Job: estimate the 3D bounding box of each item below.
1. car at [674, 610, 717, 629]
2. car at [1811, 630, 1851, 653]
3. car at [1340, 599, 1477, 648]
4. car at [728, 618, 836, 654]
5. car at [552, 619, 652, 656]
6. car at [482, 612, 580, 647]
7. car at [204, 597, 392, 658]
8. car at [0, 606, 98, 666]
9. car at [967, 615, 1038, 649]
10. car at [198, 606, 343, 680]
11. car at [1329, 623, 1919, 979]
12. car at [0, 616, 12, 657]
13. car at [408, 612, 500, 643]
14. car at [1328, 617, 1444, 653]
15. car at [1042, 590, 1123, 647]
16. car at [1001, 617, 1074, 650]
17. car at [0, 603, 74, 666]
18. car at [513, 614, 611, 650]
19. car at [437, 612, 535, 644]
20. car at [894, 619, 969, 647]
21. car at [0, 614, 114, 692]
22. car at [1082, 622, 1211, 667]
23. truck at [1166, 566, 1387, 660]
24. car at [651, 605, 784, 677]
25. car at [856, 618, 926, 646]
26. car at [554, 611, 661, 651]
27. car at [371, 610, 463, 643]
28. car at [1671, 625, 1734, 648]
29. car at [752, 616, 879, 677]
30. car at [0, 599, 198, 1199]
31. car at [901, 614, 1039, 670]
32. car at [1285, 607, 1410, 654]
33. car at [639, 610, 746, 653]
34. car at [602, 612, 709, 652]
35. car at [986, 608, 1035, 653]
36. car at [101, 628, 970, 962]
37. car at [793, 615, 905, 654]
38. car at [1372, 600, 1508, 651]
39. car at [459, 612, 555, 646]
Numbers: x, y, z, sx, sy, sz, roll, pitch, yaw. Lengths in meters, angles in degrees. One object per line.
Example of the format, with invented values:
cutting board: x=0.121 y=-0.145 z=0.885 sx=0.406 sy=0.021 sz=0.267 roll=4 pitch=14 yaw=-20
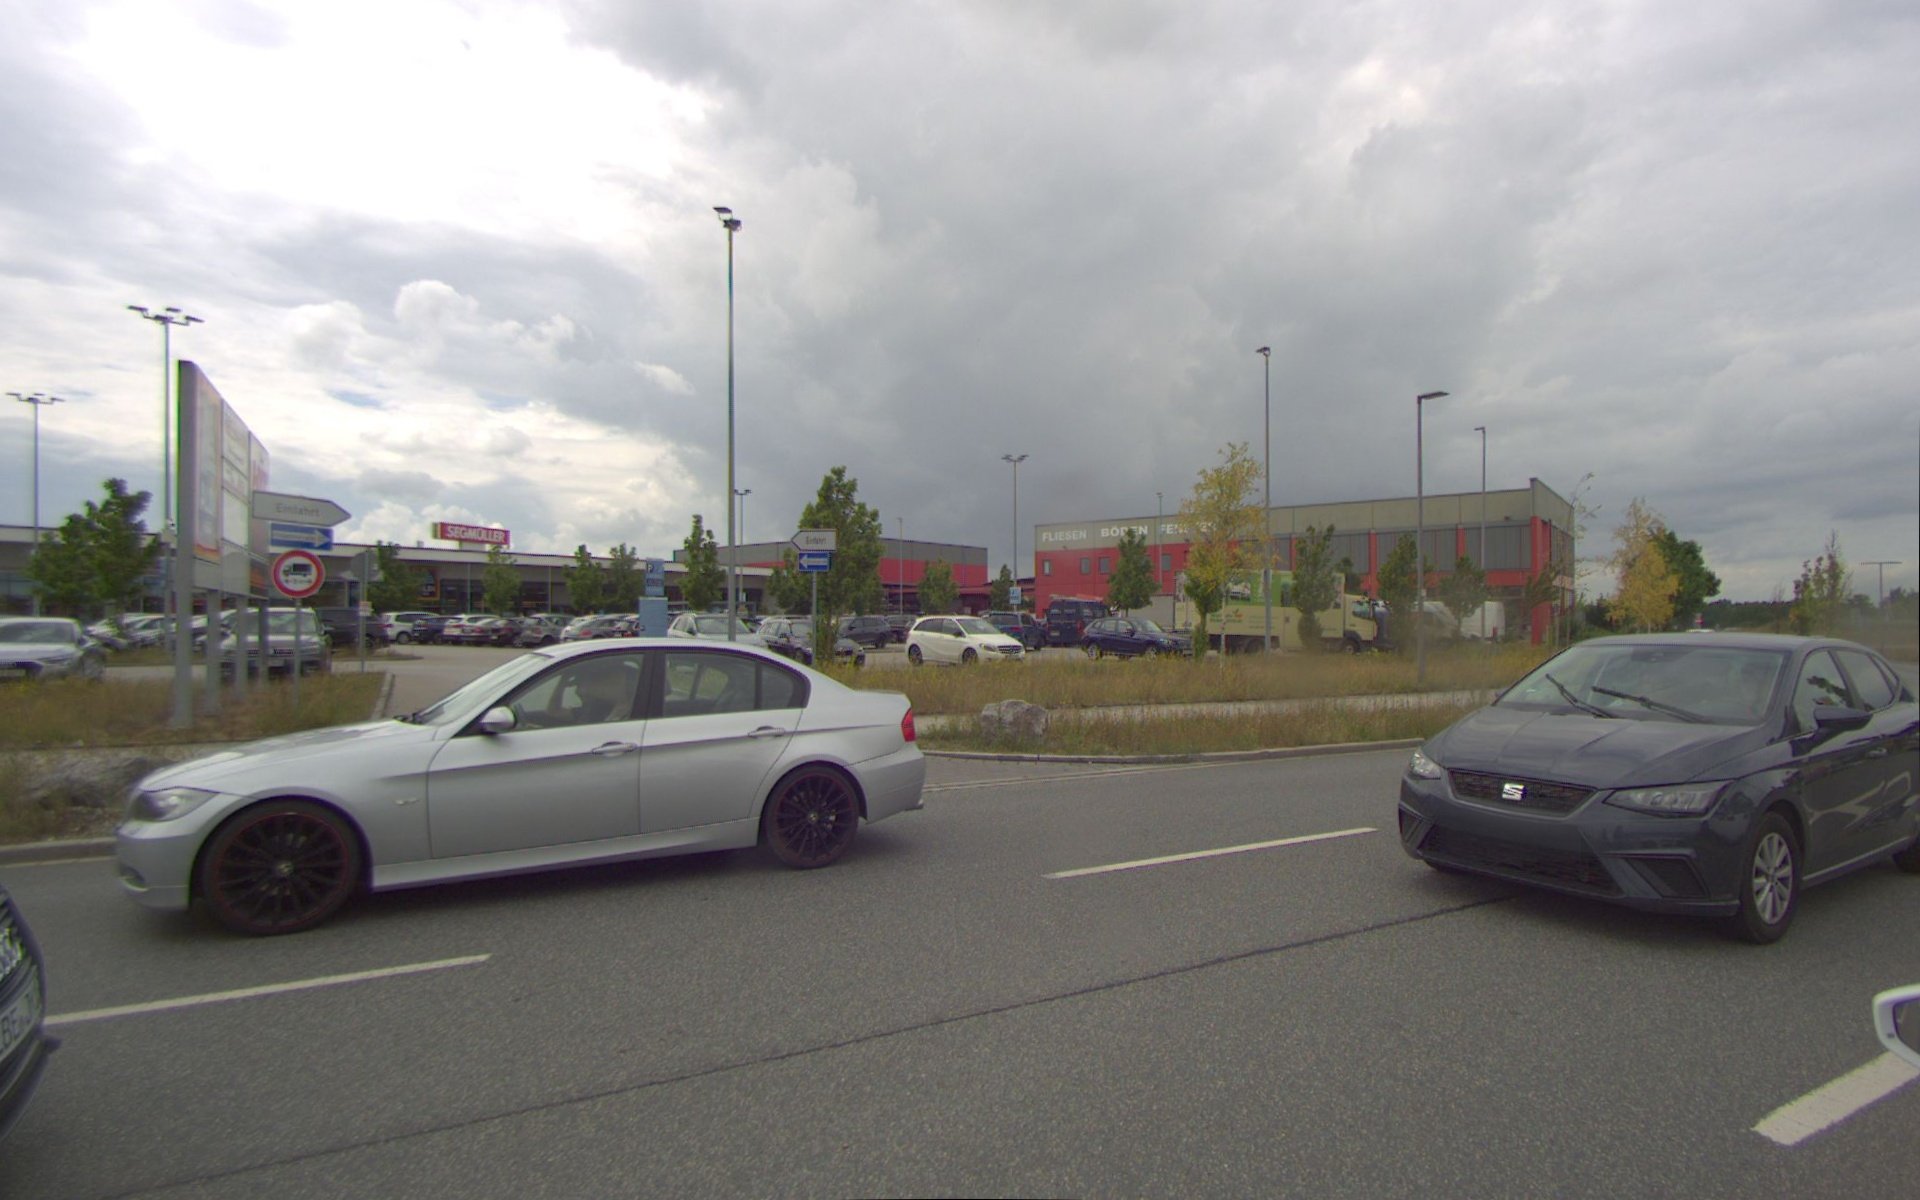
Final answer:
car: x=-23.518 y=1.744 z=89.106 sx=1.987 sy=1.628 sz=3.947 roll=2 pitch=-2 yaw=-45
car: x=67.003 y=3.213 z=77.326 sx=1.775 sy=1.691 sz=4.313 roll=-4 pitch=-4 yaw=35
car: x=22.609 y=1.181 z=50.767 sx=5.996 sy=2.337 sz=2.200 roll=0 pitch=-2 yaw=39
car: x=-8.509 y=1.695 z=48.462 sx=1.968 sy=1.628 sz=5.254 roll=-1 pitch=-2 yaw=36
car: x=-16.617 y=1.711 z=46.721 sx=1.968 sy=1.628 sz=3.986 roll=-1 pitch=-2 yaw=36
car: x=-20.887 y=1.437 z=49.012 sx=1.968 sy=1.628 sz=3.986 roll=-1 pitch=-2 yaw=36
car: x=-20.768 y=0.877 z=31.668 sx=1.969 sy=1.769 sz=4.566 roll=-1 pitch=-2 yaw=38
car: x=-26.900 y=1.001 z=28.058 sx=1.969 sy=1.628 sz=3.984 roll=-1 pitch=-2 yaw=38
car: x=2.322 y=1.690 z=53.956 sx=1.968 sy=1.752 sz=3.986 roll=-1 pitch=-2 yaw=36
car: x=-14.639 y=0.888 z=21.587 sx=2.139 sy=1.409 sz=4.339 roll=1 pitch=-2 yaw=-29
car: x=4.312 y=0.881 z=6.030 sx=4.200 sy=1.439 sz=1.819 roll=1 pitch=-1 yaw=-33
car: x=-39.105 y=1.406 z=38.346 sx=1.969 sy=1.566 sz=3.984 roll=-1 pitch=-2 yaw=37
car: x=-27.243 y=1.491 z=54.158 sx=1.968 sy=1.628 sz=3.986 roll=-1 pitch=-2 yaw=36
car: x=20.521 y=1.671 z=48.480 sx=4.840 sy=1.638 sz=1.987 roll=-1 pitch=-2 yaw=37
car: x=6.262 y=0.953 z=50.718 sx=2.030 sy=2.726 sz=5.133 roll=-1 pitch=-2 yaw=33
car: x=4.051 y=1.699 z=52.068 sx=1.968 sy=1.628 sz=3.986 roll=-1 pitch=-2 yaw=36
car: x=-30.910 y=1.070 z=31.419 sx=1.806 sy=1.947 sz=4.438 roll=0 pitch=-1 yaw=31
car: x=-18.927 y=1.496 z=47.938 sx=1.883 sy=1.628 sz=3.986 roll=-1 pitch=-2 yaw=36
car: x=-24.979 y=1.477 z=53.079 sx=1.968 sy=1.628 sz=4.279 roll=-1 pitch=-2 yaw=36
car: x=-1.568 y=1.848 z=56.768 sx=1.970 sy=1.539 sz=4.209 roll=-1 pitch=-2 yaw=40
car: x=-17.857 y=0.961 z=19.276 sx=2.006 sy=1.357 sz=4.286 roll=1 pitch=-2 yaw=-34
car: x=6.408 y=1.486 z=34.848 sx=1.979 sy=1.454 sz=4.201 roll=1 pitch=-2 yaw=-37
truck: x=12.827 y=0.568 z=40.813 sx=8.285 sy=3.588 sz=2.851 roll=1 pitch=-1 yaw=-14
car: x=-6.473 y=1.040 z=26.462 sx=2.008 sy=1.746 sz=4.214 roll=2 pitch=-2 yaw=-35
car: x=-3.972 y=1.819 z=58.162 sx=1.968 sy=1.561 sz=3.986 roll=-1 pitch=-2 yaw=36
car: x=-15.288 y=1.336 z=43.728 sx=1.968 sy=1.628 sz=3.986 roll=-1 pitch=-2 yaw=36
car: x=-29.854 y=1.452 z=55.290 sx=1.968 sy=1.755 sz=3.986 roll=-1 pitch=-2 yaw=36
car: x=69.742 y=3.408 z=94.389 sx=1.986 sy=2.040 sz=4.566 roll=2 pitch=-2 yaw=-43
car: x=-4.050 y=1.217 z=27.570 sx=2.022 sy=1.533 sz=4.221 roll=1 pitch=-1 yaw=-30
car: x=-3.899 y=0.683 z=1.497 sx=4.183 sy=1.456 sz=1.760 roll=2 pitch=-2 yaw=-31
car: x=0.241 y=1.233 z=30.559 sx=1.973 sy=1.580 sz=4.211 roll=1 pitch=-2 yaw=-40
car: x=17.391 y=1.366 z=45.228 sx=2.163 sy=2.016 sz=4.857 roll=2 pitch=-2 yaw=-42
car: x=-10.794 y=1.272 z=40.741 sx=1.824 sy=1.628 sz=3.986 roll=-1 pitch=-2 yaw=36
car: x=-12.858 y=1.339 z=42.563 sx=1.968 sy=1.628 sz=3.986 roll=-1 pitch=-2 yaw=36
car: x=2.072 y=1.261 z=42.271 sx=1.939 sy=1.795 sz=4.001 roll=0 pitch=-1 yaw=1
car: x=-2.288 y=0.912 z=6.310 sx=4.450 sy=1.436 sz=1.826 roll=1 pitch=-2 yaw=-32
car: x=-4.863 y=1.494 z=44.665 sx=1.968 sy=1.628 sz=5.254 roll=-1 pitch=-2 yaw=36
car: x=25.945 y=1.358 z=54.489 sx=6.333 sy=2.633 sz=2.233 roll=0 pitch=-2 yaw=40
car: x=-22.859 y=1.463 z=50.746 sx=1.968 sy=1.628 sz=3.986 roll=-1 pitch=-2 yaw=36
